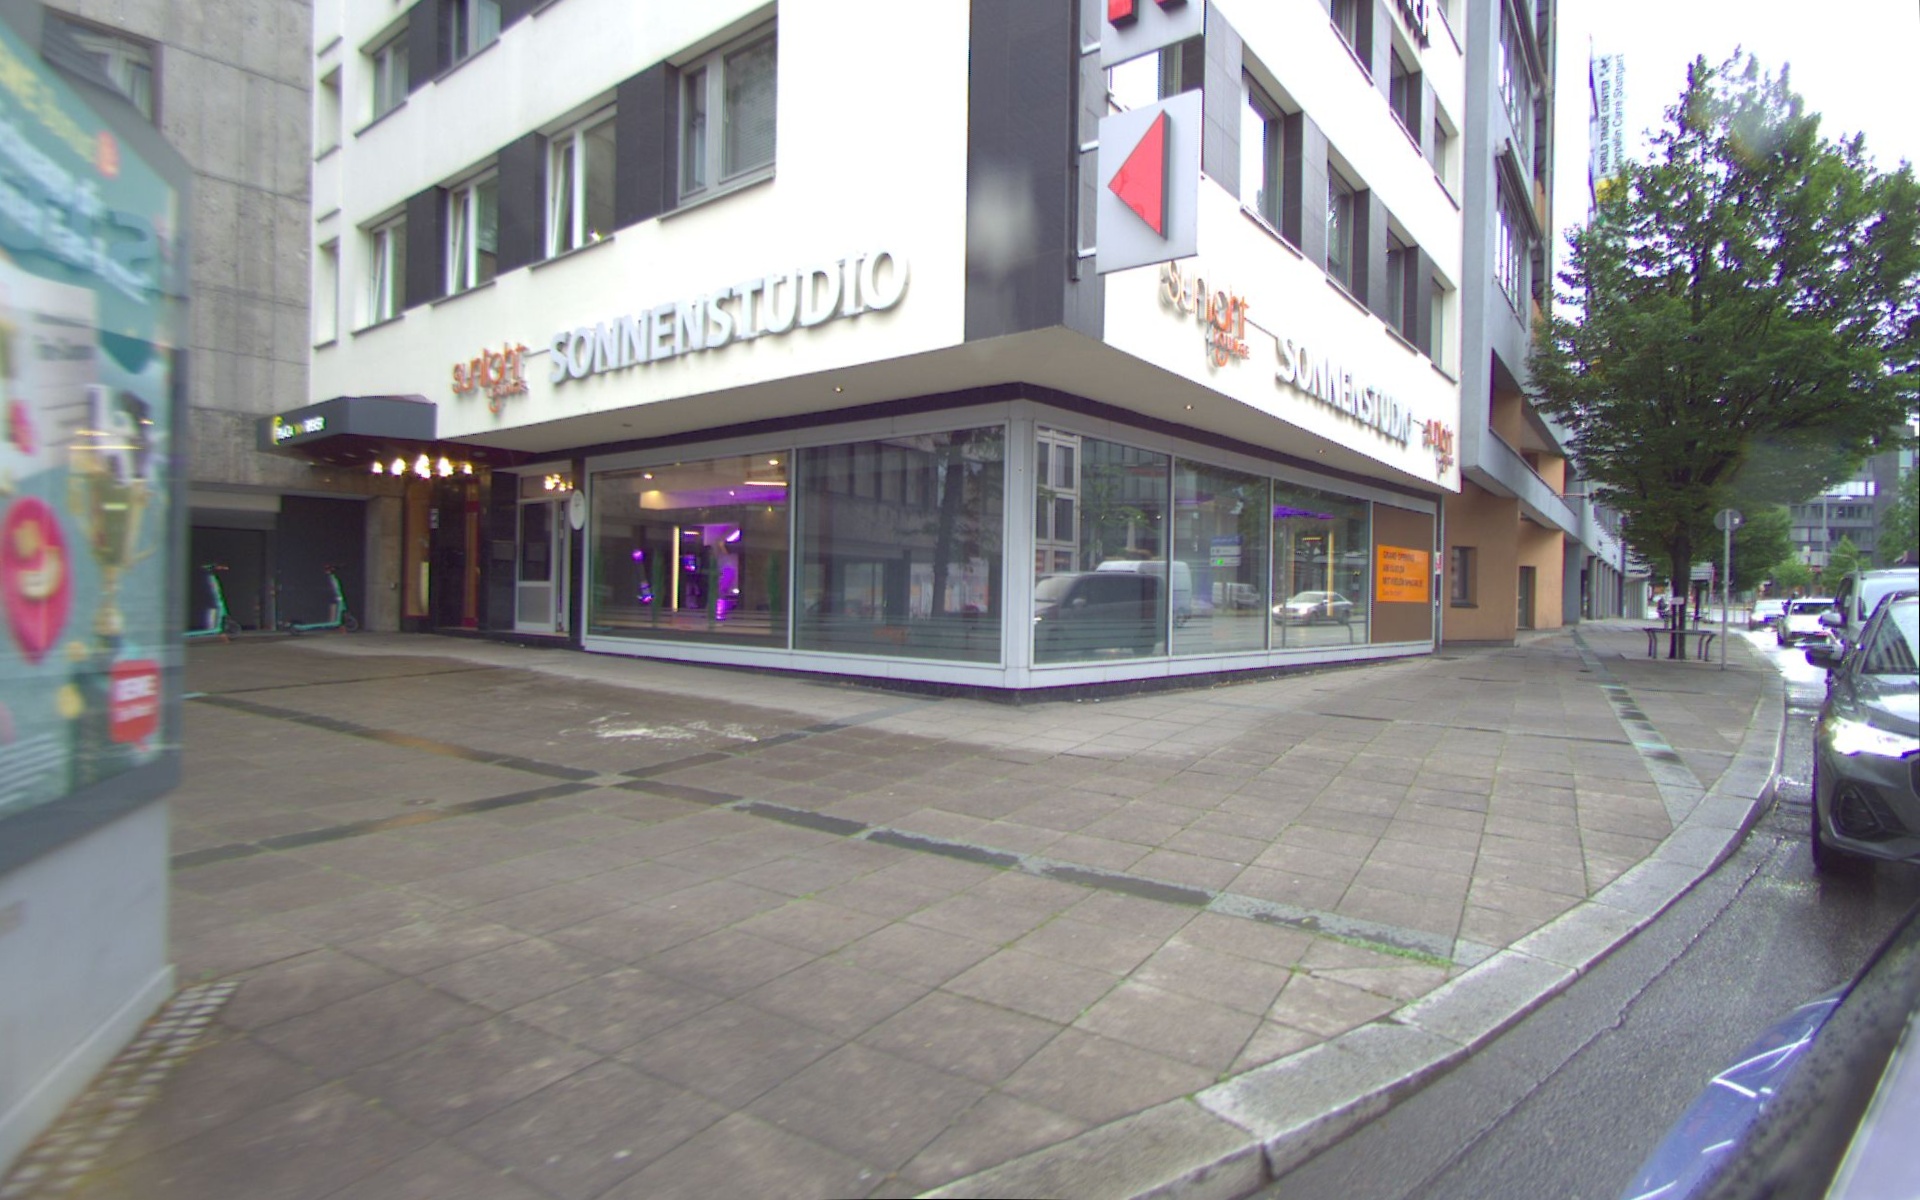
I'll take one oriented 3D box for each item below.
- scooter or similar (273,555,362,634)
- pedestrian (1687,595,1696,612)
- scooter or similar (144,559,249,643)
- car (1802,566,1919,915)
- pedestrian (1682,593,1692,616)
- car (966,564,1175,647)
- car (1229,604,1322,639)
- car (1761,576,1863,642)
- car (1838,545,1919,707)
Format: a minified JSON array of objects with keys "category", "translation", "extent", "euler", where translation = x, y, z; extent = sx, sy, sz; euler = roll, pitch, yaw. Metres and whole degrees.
[{"category":"scooter or similar","translation":[-11.340,-0.106,17.887],"extent":[0.517,1.354,1.214],"euler":[-1,0,37]},{"category":"pedestrian","translation":[73.539,0.360,101.744],"extent":[0.649,1.618,1.047],"euler":[-1,0,31]},{"category":"scooter or similar","translation":[-12.004,-0.004,15.934],"extent":[0.562,1.268,1.214],"euler":[2,2,37]},{"category":"car","translation":[6.199,0.591,5.725],"extent":[4.317,1.571,1.798],"euler":[-1,1,-45]},{"category":"pedestrian","translation":[58.164,0.350,80.966],"extent":[0.638,1.805,0.868],"euler":[-1,-2,37]},{"category":"car","translation":[2.535,0.060,22.342],"extent":[4.848,1.629,1.994],"euler":[-1,1,-45]},{"category":"car","translation":[13.122,0.884,42.135],"extent":[3.367,1.347,1.547],"euler":[-1,0,35]},{"category":"car","translation":[26.767,0.234,31.944],"extent":[2.048,1.916,4.984],"euler":[-1,1,36]},{"category":"car","translation":[13.245,0.264,13.631],"extent":[2.052,1.916,4.976],"euler":[-1,1,40]}]
